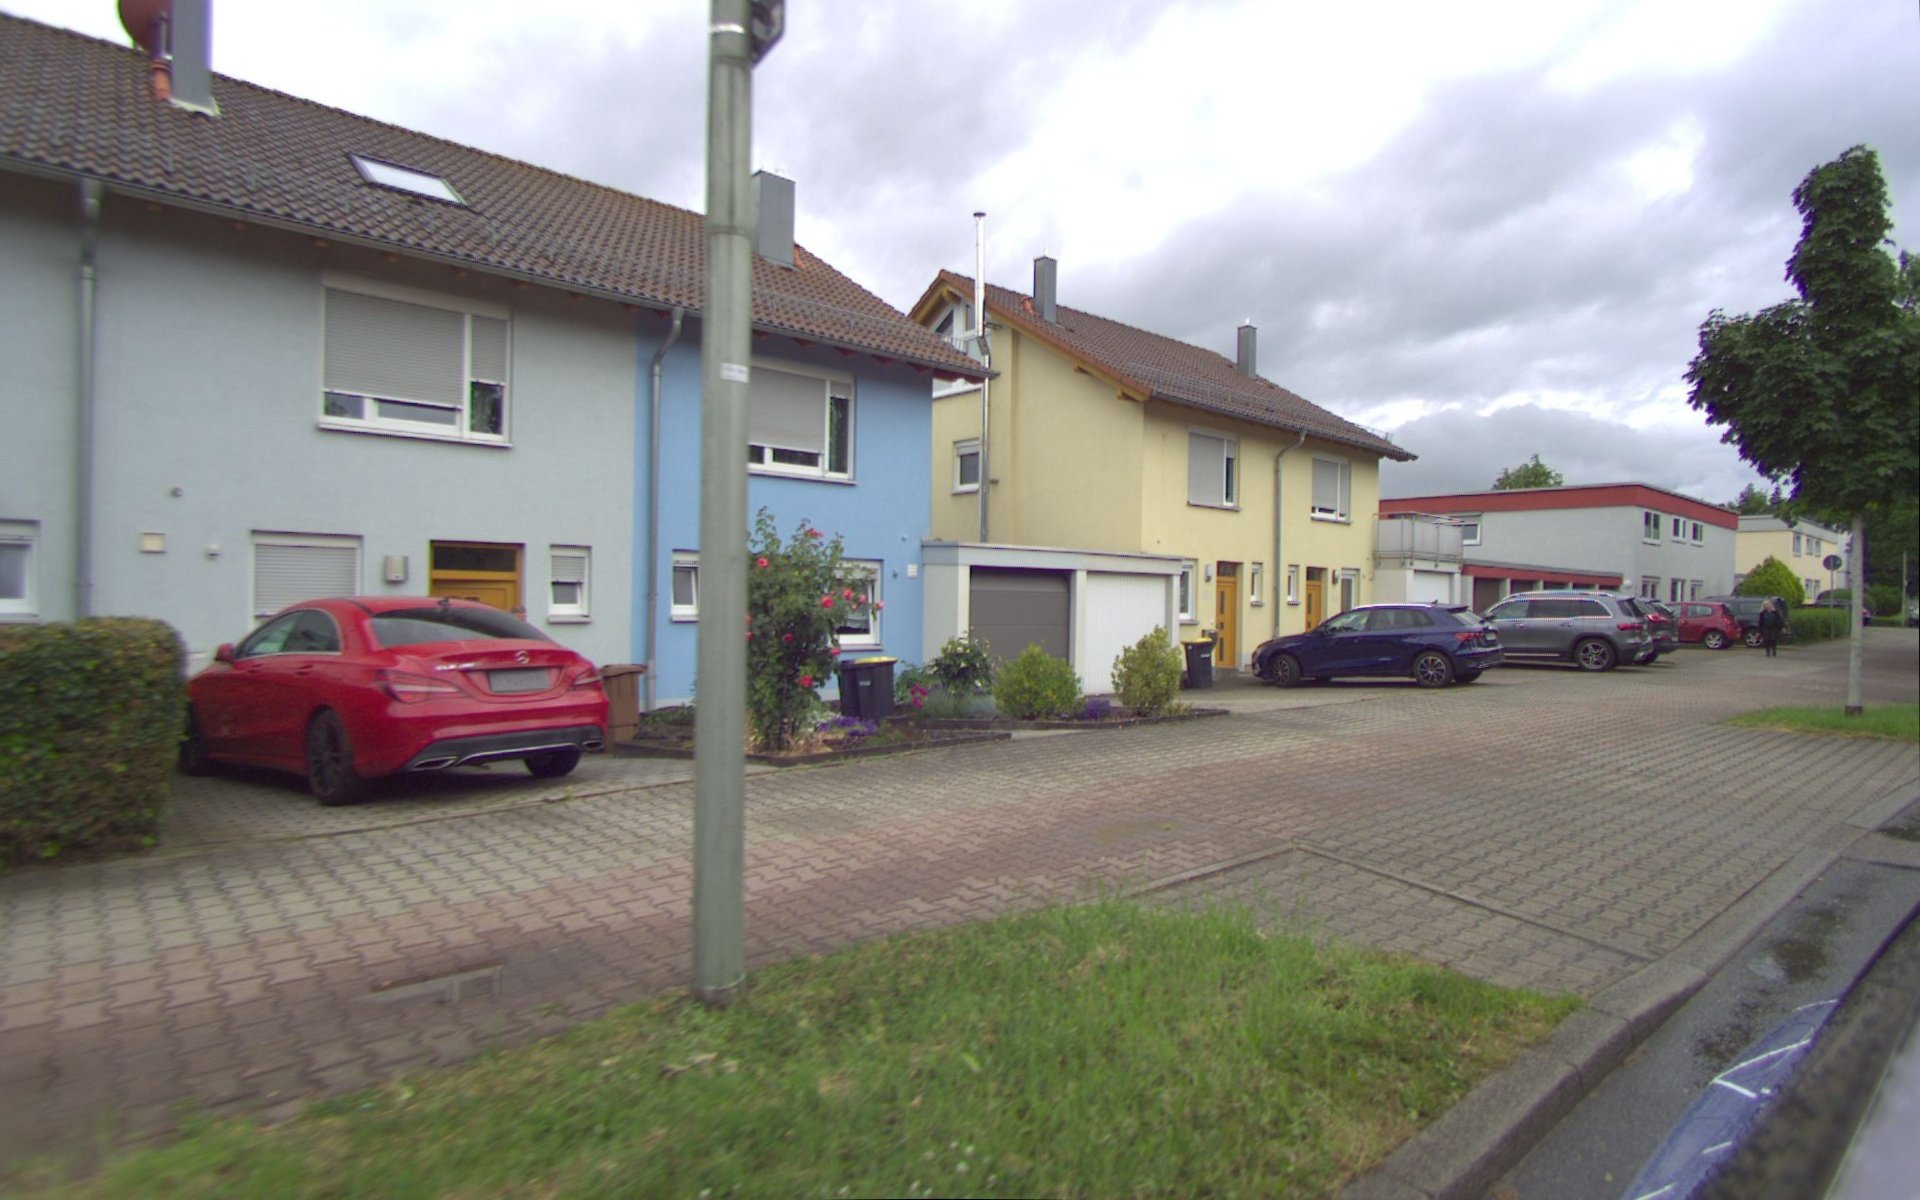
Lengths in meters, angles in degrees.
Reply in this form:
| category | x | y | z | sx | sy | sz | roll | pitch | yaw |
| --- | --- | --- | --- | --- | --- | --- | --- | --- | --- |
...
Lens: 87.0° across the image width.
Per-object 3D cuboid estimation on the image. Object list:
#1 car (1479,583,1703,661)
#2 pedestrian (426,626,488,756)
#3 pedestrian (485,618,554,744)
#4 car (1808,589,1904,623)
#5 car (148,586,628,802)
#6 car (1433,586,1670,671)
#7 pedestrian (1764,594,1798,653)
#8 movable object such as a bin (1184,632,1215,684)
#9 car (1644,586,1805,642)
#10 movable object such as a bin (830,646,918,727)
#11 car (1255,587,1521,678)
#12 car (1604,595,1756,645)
| category | x | y | z | sx | sy | sz | roll | pitch | yaw |
| --- | --- | --- | --- | --- | --- | --- | --- | --- | --- |
| car | 15.036 | 0.468 | 24.293 | 1.956 | 1.692 | 4.187 | 0 | 0 | -40 |
| pedestrian | -5.523 | 0.978 | 11.131 | 0.553 | 1.368 | 0.498 | 0 | 0 | -19 |
| pedestrian | -5.001 | 0.894 | 11.491 | 0.534 | 1.368 | 0.523 | 0 | -1 | 36 |
| car | 47.075 | 0.304 | 53.215 | 1.733 | 1.551 | 3.616 | 0 | 3 | -44 |
| car | -4.620 | 0.597 | 7.938 | 4.290 | 1.277 | 1.657 | -1 | -2 | 36 |
| car | 12.848 | 0.631 | 22.143 | 4.175 | 1.693 | 1.695 | -3 | -2 | 42 |
| pedestrian | 22.543 | 0.626 | 27.784 | 0.664 | 1.578 | 0.829 | 0 | 0 | 43 |
| movable object such as a bin | 4.512 | 1.091 | 19.082 | 0.473 | 0.934 | 0.367 | -2 | -1 | 6 |
| car | 25.190 | 0.412 | 33.451 | 1.891 | 1.743 | 3.992 | 0 | 0 | -42 |
| movable object such as a bin | -1.156 | 1.138 | 13.590 | 0.803 | 0.976 | 0.894 | 1 | 0 | -40 |
| car | 7.502 | 0.638 | 17.993 | 3.986 | 1.406 | 1.647 | -5 | -5 | 45 |
| car | 22.865 | 0.587 | 32.204 | 1.678 | 1.460 | 3.697 | 0 | 0 | -42 |
